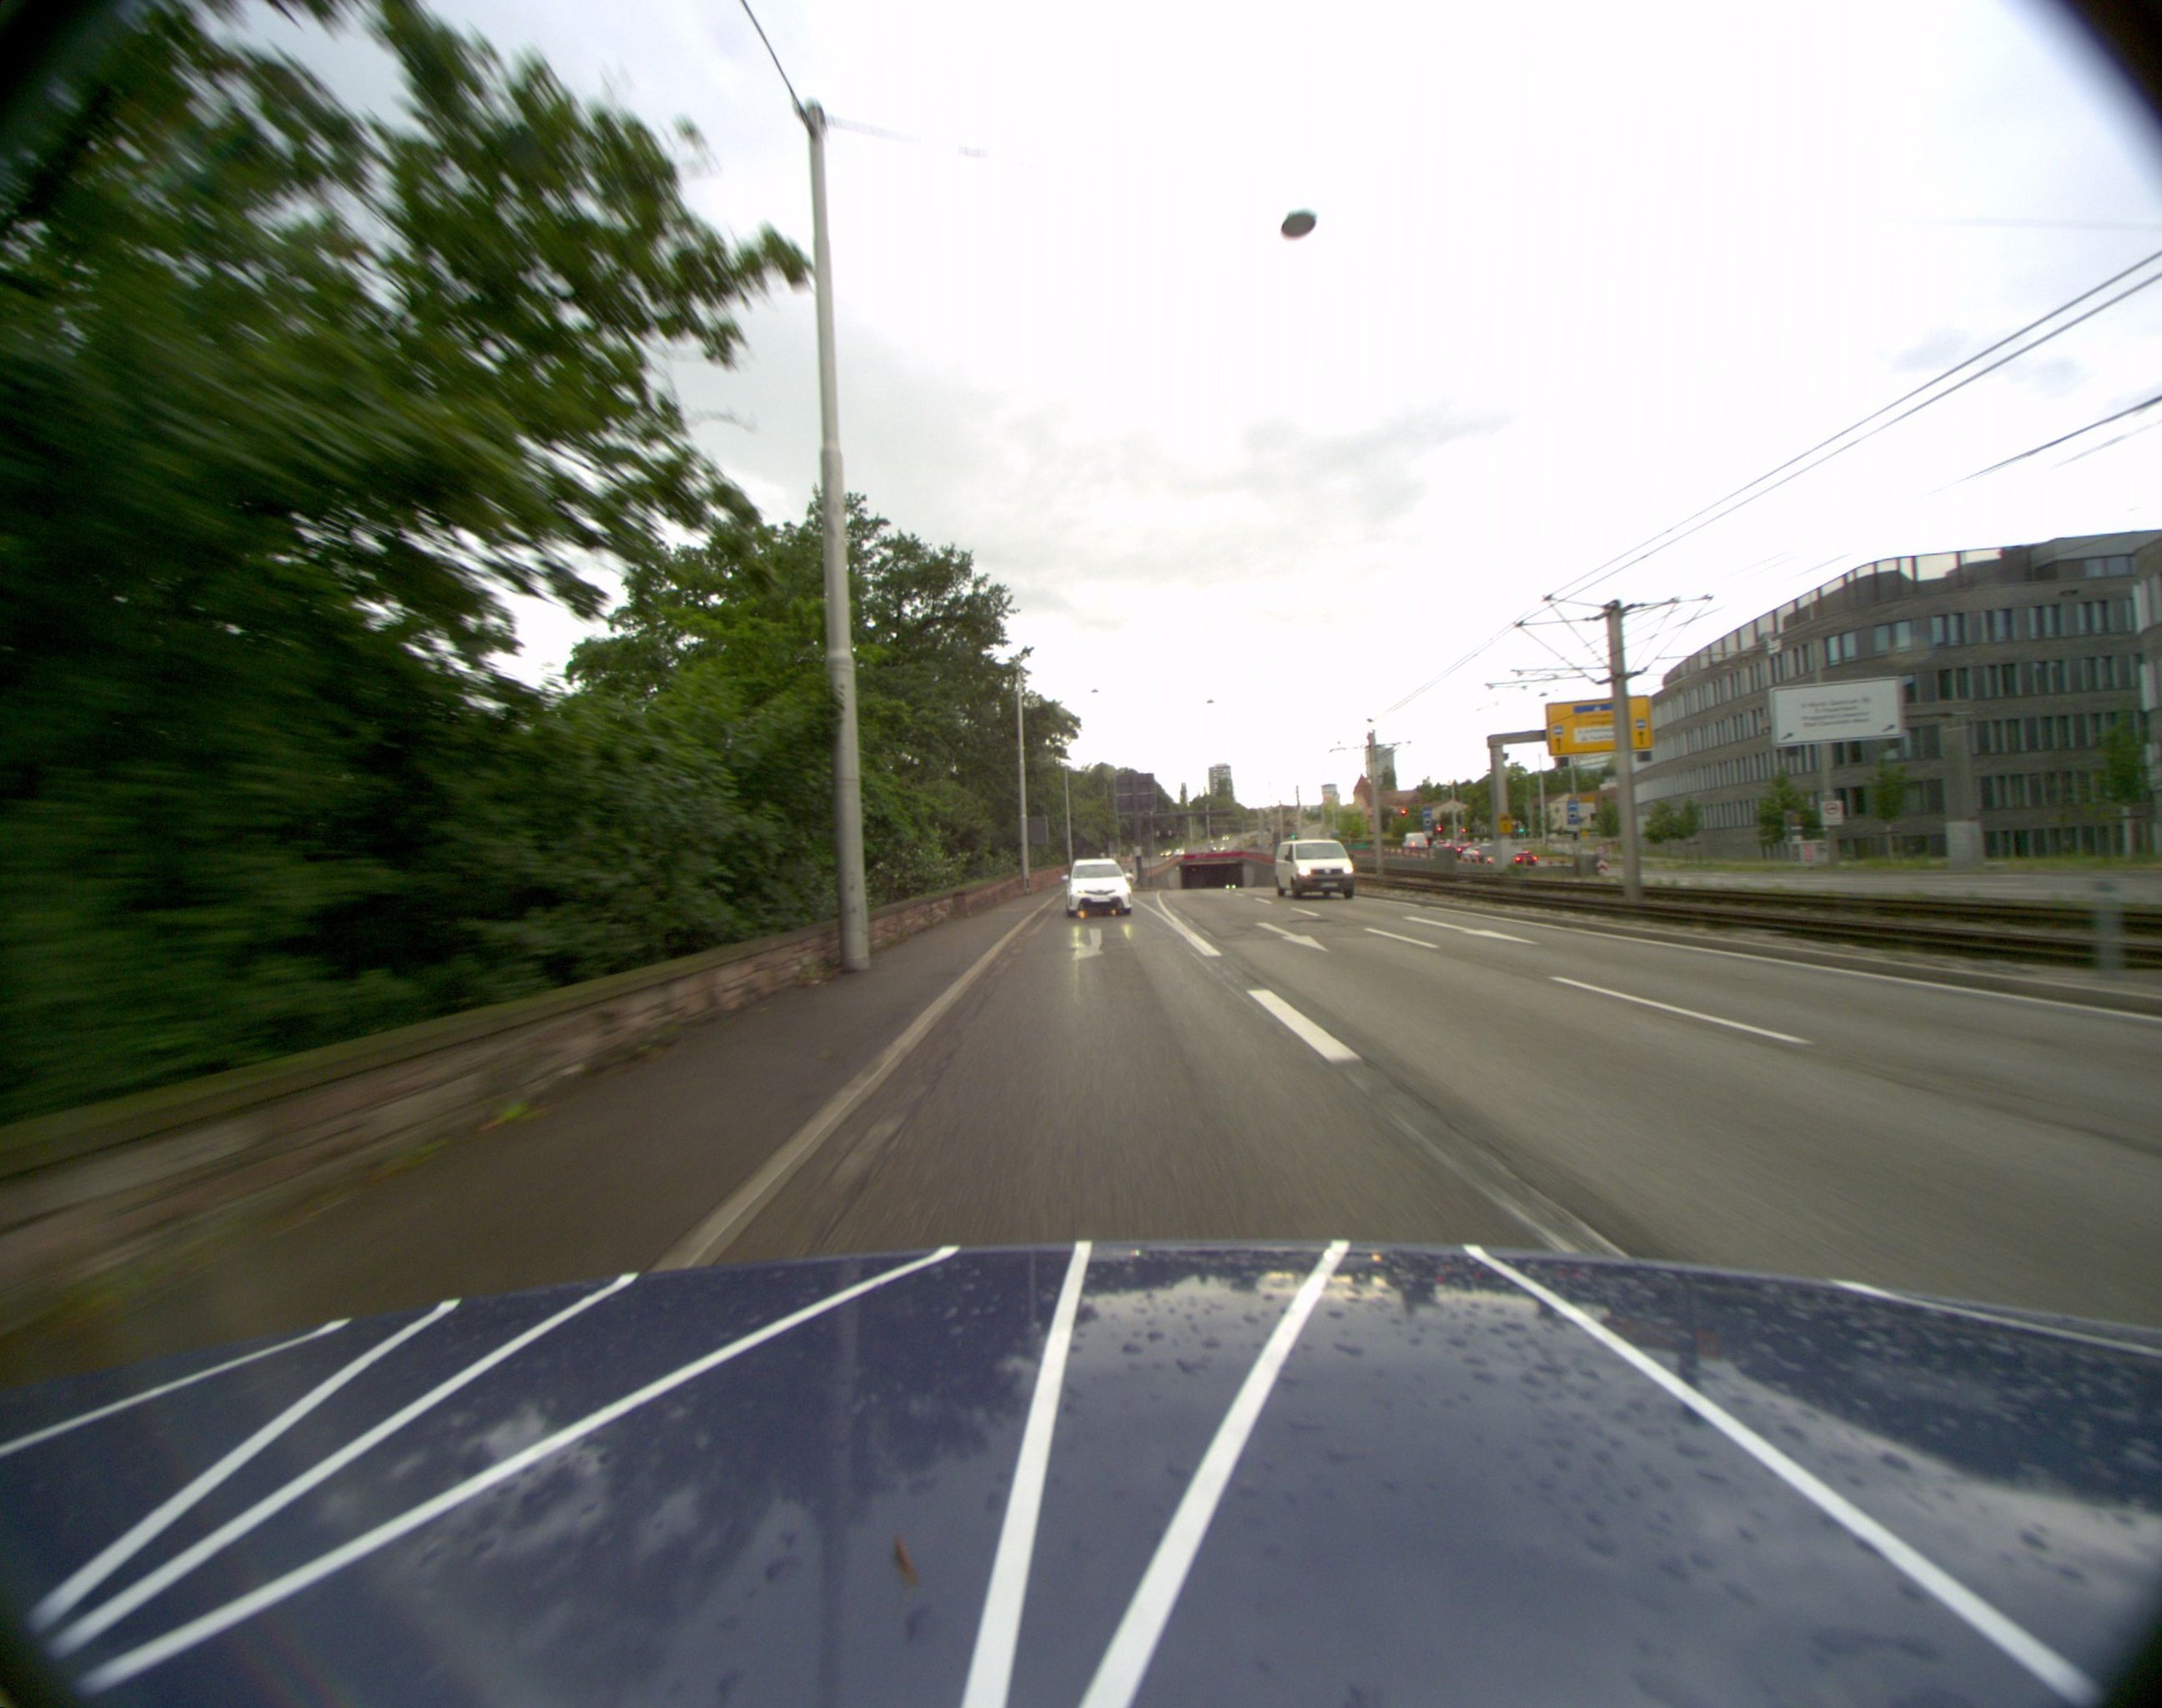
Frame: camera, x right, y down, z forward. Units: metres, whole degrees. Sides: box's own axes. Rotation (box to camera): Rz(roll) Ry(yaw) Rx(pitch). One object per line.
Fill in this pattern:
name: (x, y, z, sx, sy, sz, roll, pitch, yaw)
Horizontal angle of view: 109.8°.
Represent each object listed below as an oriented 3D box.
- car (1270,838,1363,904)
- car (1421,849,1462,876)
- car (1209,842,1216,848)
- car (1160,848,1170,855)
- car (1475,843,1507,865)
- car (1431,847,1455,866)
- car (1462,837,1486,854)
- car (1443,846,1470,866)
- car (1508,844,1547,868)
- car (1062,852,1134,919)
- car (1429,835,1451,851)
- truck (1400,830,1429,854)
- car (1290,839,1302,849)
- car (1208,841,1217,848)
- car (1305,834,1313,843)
car: (7.884, 0.542, 25.904, 1.998, 2.015, 4.687, -1, 0, 4)
car: (31.001, 0.677, 65.459, 1.997, 2.106, 5.114, -3, 1, 12)
car: (34.312, -2.298, 198.202, 1.800, 1.463, 4.002, -2, 1, 12)
car: (19.615, -0.501, 176.999, 1.887, 1.462, 4.013, -2, -1, 12)
car: (42.399, -0.041, 78.718, 1.996, 2.003, 4.206, -2, 3, 15)
car: (45.335, 0.266, 95.149, 1.996, 2.003, 4.206, -2, 3, 15)
car: (52.658, -1.173, 101.775, 1.996, 2.003, 4.206, -2, 3, 15)
car: (43.895, 0.188, 88.965, 1.996, 2.003, 4.206, -2, 3, 15)
car: (40.760, 0.167, 69.396, 1.996, 2.002, 4.004, -2, 0, 15)
car: (0.390, 0.872, 22.224, 1.856, 1.741, 4.000, -1, -1, -2)
car: (51.160, -1.592, 108.353, 1.996, 2.003, 4.206, -2, 3, 15)
truck: (47.593, -1.738, 108.633, 1.998, 3.169, 5.284, -3, 3, 4)
car: (51.274, -2.435, 181.321, 1.995, 2.003, 4.004, -1, 4, 25)
car: (34.280, -2.432, 198.067, 1.736, 1.579, 4.004, -2, 3, 20)
car: (59.648, -4.025, 198.795, 1.996, 2.003, 4.003, -2, 3, 18)
